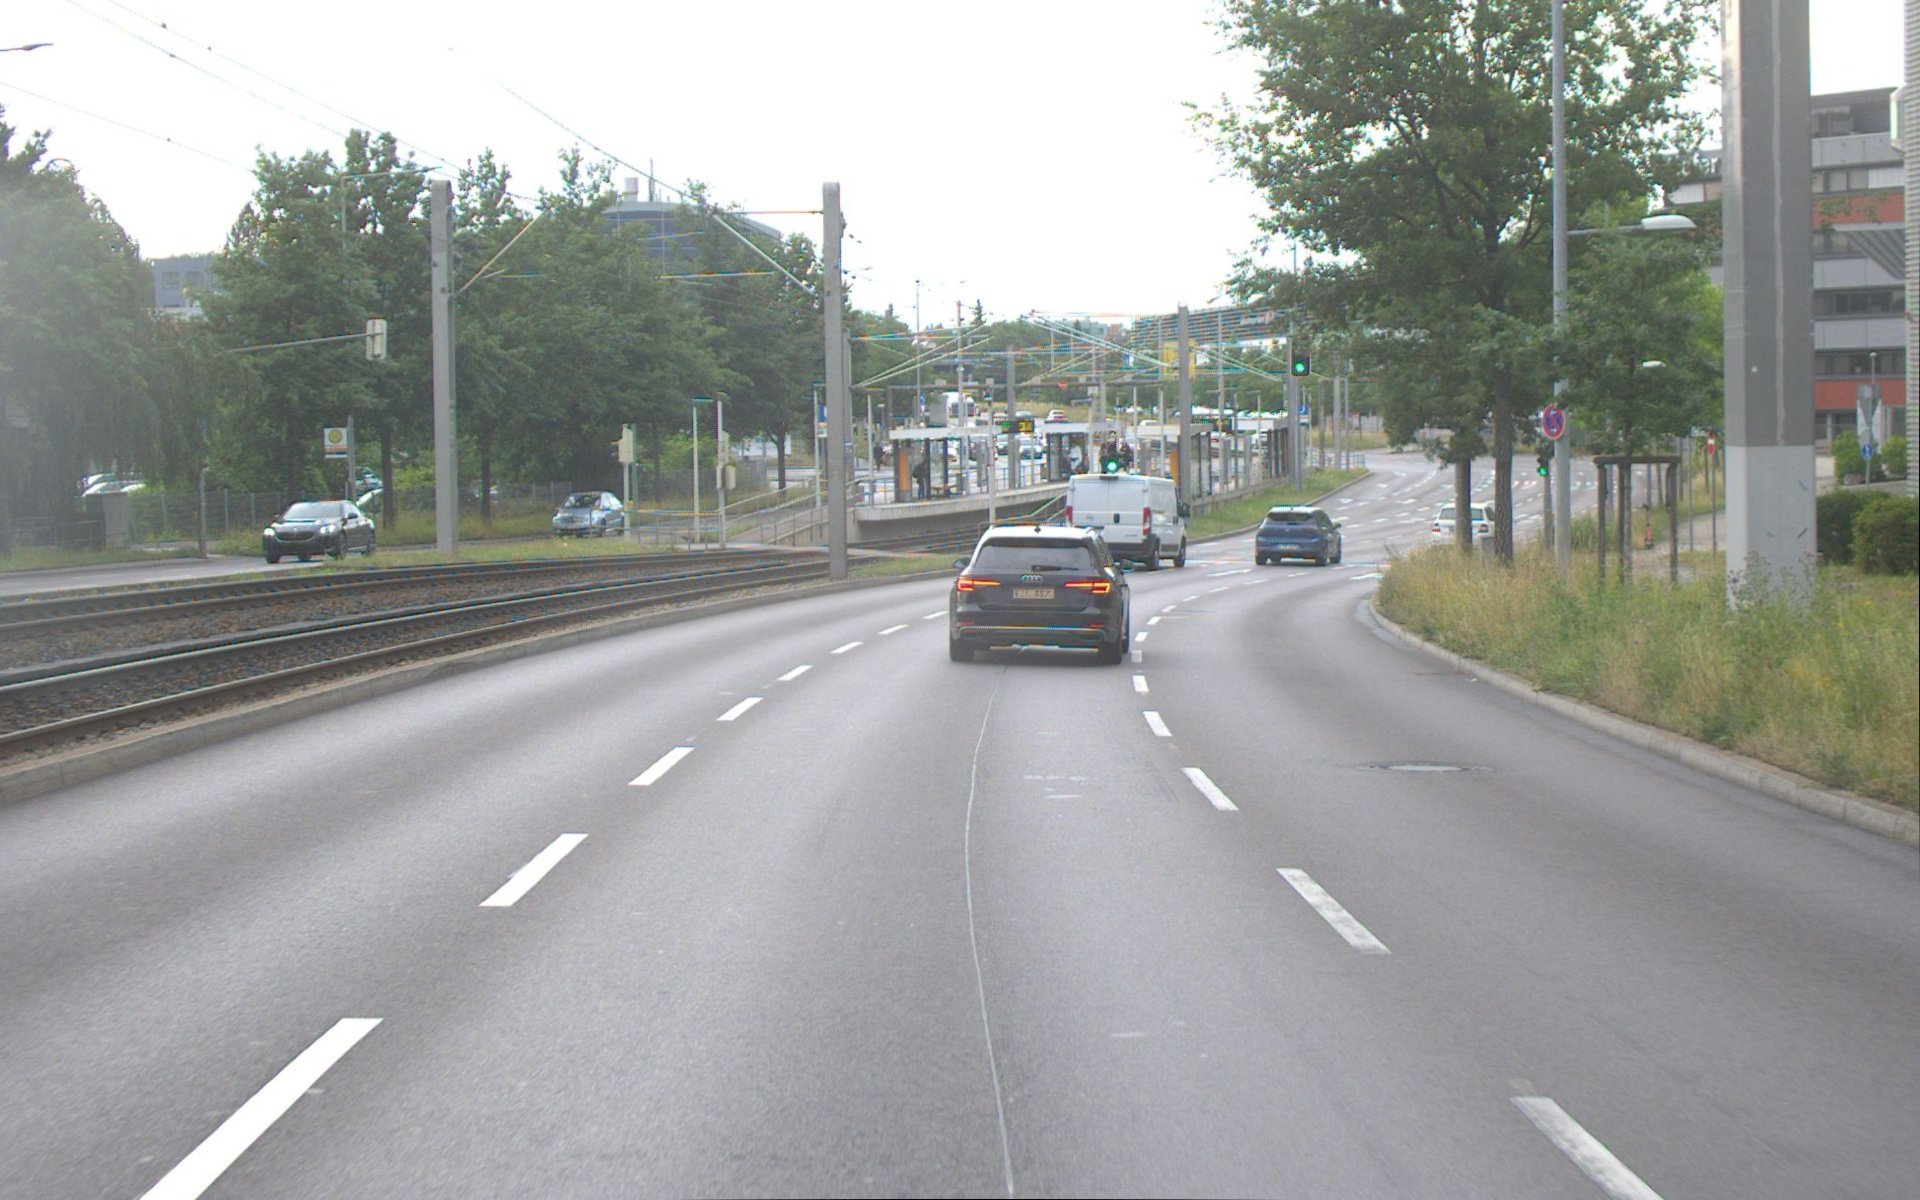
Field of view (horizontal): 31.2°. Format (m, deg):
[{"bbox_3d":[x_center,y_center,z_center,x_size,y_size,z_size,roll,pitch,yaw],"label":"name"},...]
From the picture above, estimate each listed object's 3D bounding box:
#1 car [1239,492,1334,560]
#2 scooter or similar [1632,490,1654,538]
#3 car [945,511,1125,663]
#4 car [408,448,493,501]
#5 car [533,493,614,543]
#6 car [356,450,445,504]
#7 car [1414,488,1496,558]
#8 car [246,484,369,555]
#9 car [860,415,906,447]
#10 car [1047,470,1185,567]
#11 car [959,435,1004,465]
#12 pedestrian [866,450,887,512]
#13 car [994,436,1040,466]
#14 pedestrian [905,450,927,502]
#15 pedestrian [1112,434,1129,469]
[{"bbox_3d":[8.253,-1.844,86.692,2.022,1.617,3.998,1,0,10],"label":"car"},{"bbox_3d":[18.511,-2.336,93.222,0.457,1.259,1.337,-2,2,8],"label":"scooter or similar"},{"bbox_3d":[0.747,-0.189,36.987,1.764,1.458,4.627,2,2,0],"label":"car"},{"bbox_3d":[-20.595,-5.072,139.157,1.995,2.007,3.998,1,1,14],"label":"car"},{"bbox_3d":[-13.580,-2.887,120.897,1.994,1.674,3.999,1,2,6],"label":"car"},{"bbox_3d":[-21.784,-4.779,133.975,1.995,2.007,3.998,1,1,14],"label":"car"},{"bbox_3d":[13.869,-2.185,96.243,2.022,1.763,3.999,1,4,11],"label":"car"},{"bbox_3d":[-15.259,-1.907,80.599,1.883,1.515,4.403,-3,2,1],"label":"car"},{"bbox_3d":[-5.388,-11.797,240.321,1.993,2.007,4.001,1,0,-20],"label":"car"},{"bbox_3d":[3.753,-1.908,81.669,2.512,2.169,5.147,1,0,11],"label":"car"},{"bbox_3d":[1.533,-10.789,247.669,1.993,2.007,4.001,1,0,-20],"label":"car"},{"bbox_3d":[-2.674,-3.806,109.680,0.549,1.946,0.664,1,0,7],"label":"pedestrian"},{"bbox_3d":[4.089,-10.760,248.967,1.993,2.007,4.001,1,0,-20],"label":"car"},{"bbox_3d":[-1.613,-4.518,125.256,0.637,1.848,0.750,1,0,11],"label":"pedestrian"},{"bbox_3d":[8.274,-7.642,177.213,0.752,1.745,0.763,1,0,12],"label":"pedestrian"}]
